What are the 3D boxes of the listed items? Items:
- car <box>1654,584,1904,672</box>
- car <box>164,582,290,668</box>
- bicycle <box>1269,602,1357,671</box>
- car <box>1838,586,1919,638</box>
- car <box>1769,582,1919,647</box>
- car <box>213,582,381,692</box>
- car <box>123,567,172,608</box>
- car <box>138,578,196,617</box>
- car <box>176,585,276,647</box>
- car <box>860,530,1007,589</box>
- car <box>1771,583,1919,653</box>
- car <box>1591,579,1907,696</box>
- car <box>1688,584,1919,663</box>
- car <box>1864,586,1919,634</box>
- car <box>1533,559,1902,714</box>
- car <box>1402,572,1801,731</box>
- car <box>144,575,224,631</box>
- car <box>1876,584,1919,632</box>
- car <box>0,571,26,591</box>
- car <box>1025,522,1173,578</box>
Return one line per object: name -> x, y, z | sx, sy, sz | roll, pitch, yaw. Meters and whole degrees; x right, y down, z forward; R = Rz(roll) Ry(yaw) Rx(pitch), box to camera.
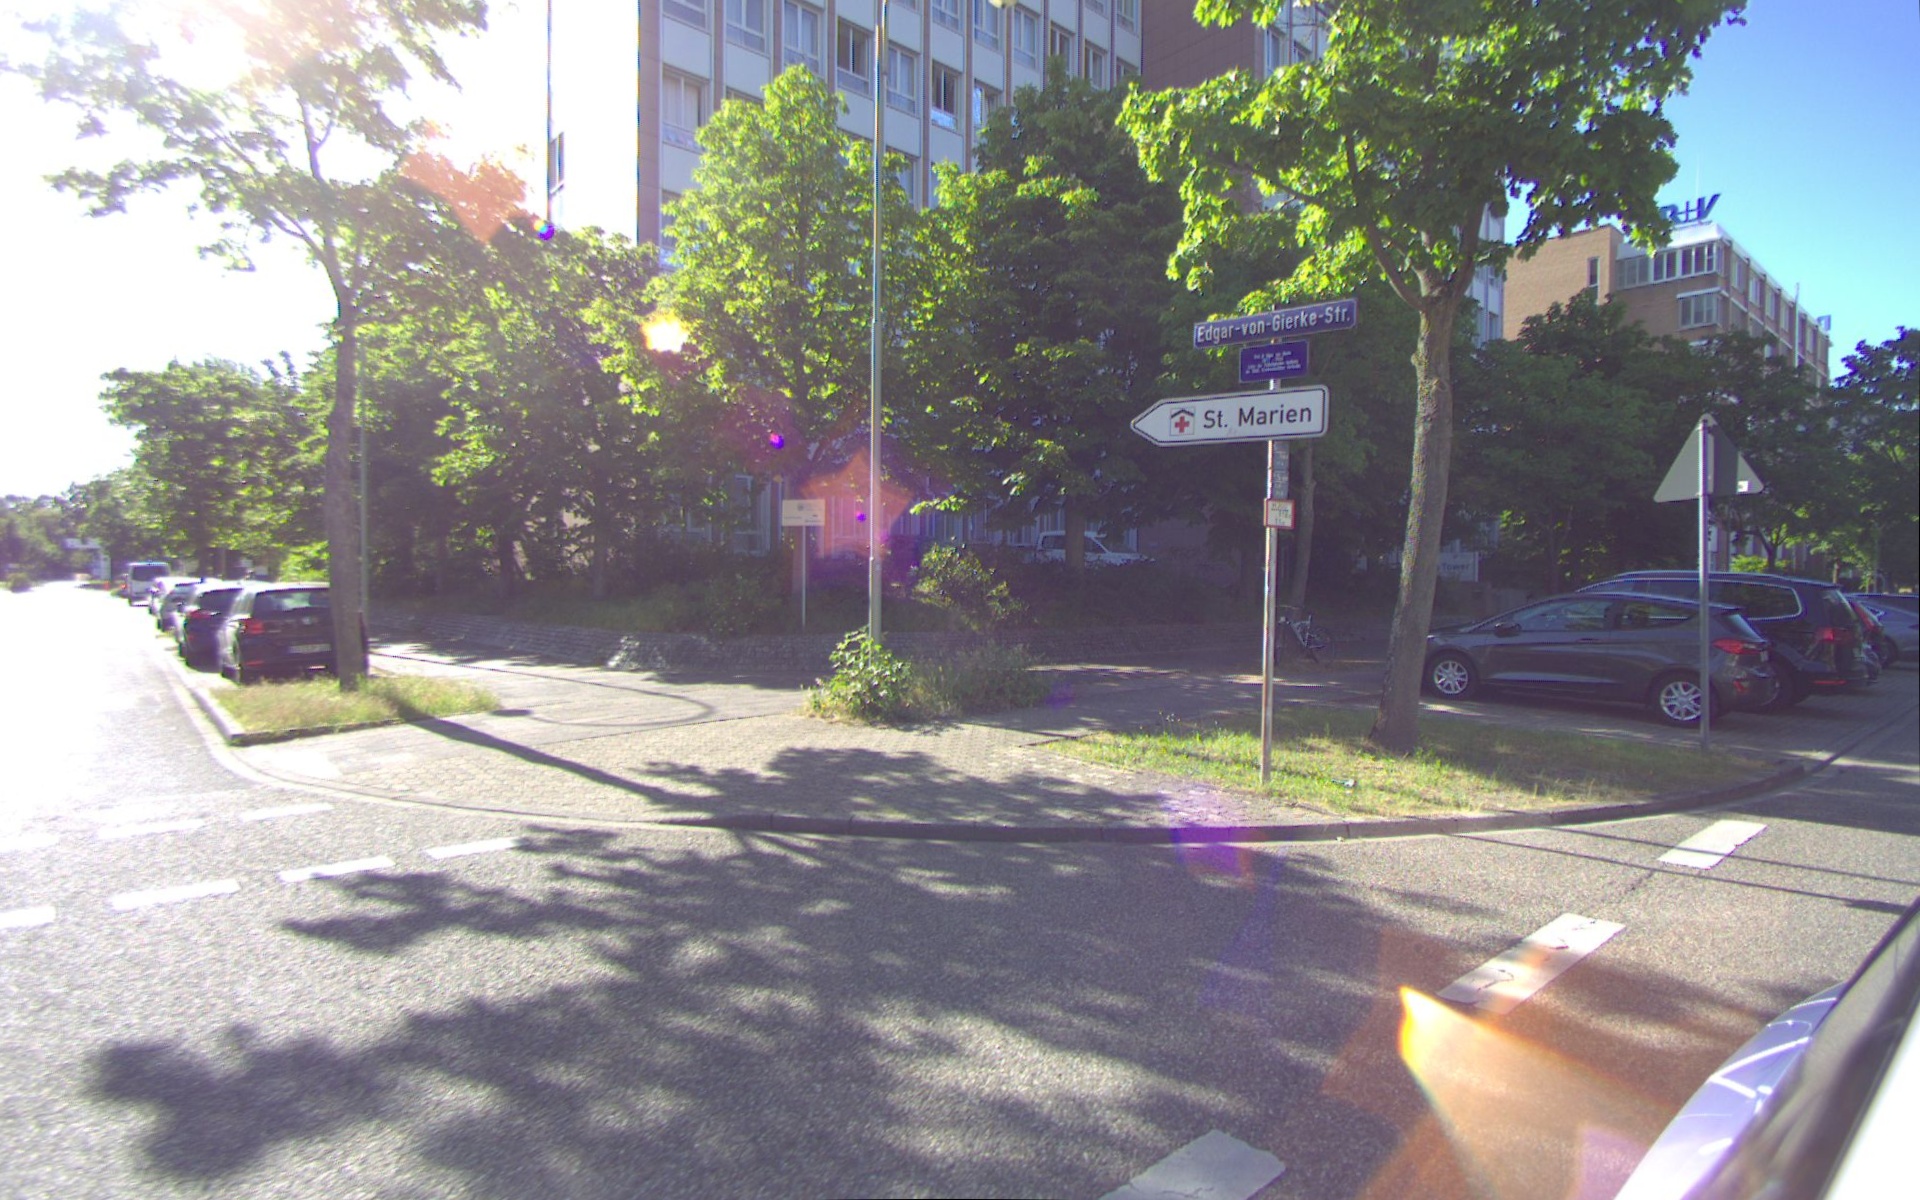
car -> 16.439, 0.485, 20.431 | 1.695, 1.499, 3.715 | -1, 3, -43
car -> -14.131, 0.404, 19.428 | 1.622, 1.487, 3.850 | -1, 1, -41
bicycle -> 5.600, 0.555, 15.980 | 1.921, 1.006, 0.303 | -1, 0, -37
car -> 29.133, 0.363, 30.940 | 1.559, 1.497, 3.206 | -1, 3, -37
car -> 23.466, 0.330, 26.037 | 1.656, 1.569, 3.974 | 0, 1, -44
car -> -10.419, 0.477, 15.783 | 1.739, 1.466, 3.995 | -2, 2, -40
car -> -45.011, -0.688, 56.022 | 1.966, 2.208, 3.993 | -1, 1, -41
car -> -33.334, -0.116, 42.499 | 1.619, 1.572, 3.991 | -1, 1, -43
car -> -17.006, 0.320, 23.400 | 1.526, 1.321, 3.497 | -1, 1, -42
car -> -0.805, -1.110, 28.610 | 4.224, 1.525, 1.697 | 1, 1, 44
car -> 21.893, 0.403, 24.265 | 1.695, 1.525, 3.579 | -1, 3, -42
car -> 12.779, 0.496, 16.536 | 3.872, 1.584, 1.780 | 3, 3, 45
car -> 18.602, 0.437, 21.824 | 1.828, 1.573, 4.427 | 0, 1, -42
car -> 31.150, 0.341, 32.434 | 1.470, 1.477, 2.999 | -1, 3, -38
car -> 10.119, 0.355, 13.746 | 1.693, 1.772, 3.682 | 0, 3, -38
car -> 7.769, 0.515, 12.529 | 1.565, 1.464, 3.841 | 2, 3, -43
car -> -22.728, 0.054, 29.594 | 1.681, 1.512, 3.766 | -1, 1, -40
car -> 33.571, 0.299, 34.608 | 1.575, 1.624, 3.055 | 0, 3, -38
car -> -99.420, -1.931, 106.104 | 3.986, 2.039, 1.969 | 0, 0, 44
car -> 4.492, -1.573, 33.265 | 1.845, 1.707, 4.719 | 0, 1, -44
